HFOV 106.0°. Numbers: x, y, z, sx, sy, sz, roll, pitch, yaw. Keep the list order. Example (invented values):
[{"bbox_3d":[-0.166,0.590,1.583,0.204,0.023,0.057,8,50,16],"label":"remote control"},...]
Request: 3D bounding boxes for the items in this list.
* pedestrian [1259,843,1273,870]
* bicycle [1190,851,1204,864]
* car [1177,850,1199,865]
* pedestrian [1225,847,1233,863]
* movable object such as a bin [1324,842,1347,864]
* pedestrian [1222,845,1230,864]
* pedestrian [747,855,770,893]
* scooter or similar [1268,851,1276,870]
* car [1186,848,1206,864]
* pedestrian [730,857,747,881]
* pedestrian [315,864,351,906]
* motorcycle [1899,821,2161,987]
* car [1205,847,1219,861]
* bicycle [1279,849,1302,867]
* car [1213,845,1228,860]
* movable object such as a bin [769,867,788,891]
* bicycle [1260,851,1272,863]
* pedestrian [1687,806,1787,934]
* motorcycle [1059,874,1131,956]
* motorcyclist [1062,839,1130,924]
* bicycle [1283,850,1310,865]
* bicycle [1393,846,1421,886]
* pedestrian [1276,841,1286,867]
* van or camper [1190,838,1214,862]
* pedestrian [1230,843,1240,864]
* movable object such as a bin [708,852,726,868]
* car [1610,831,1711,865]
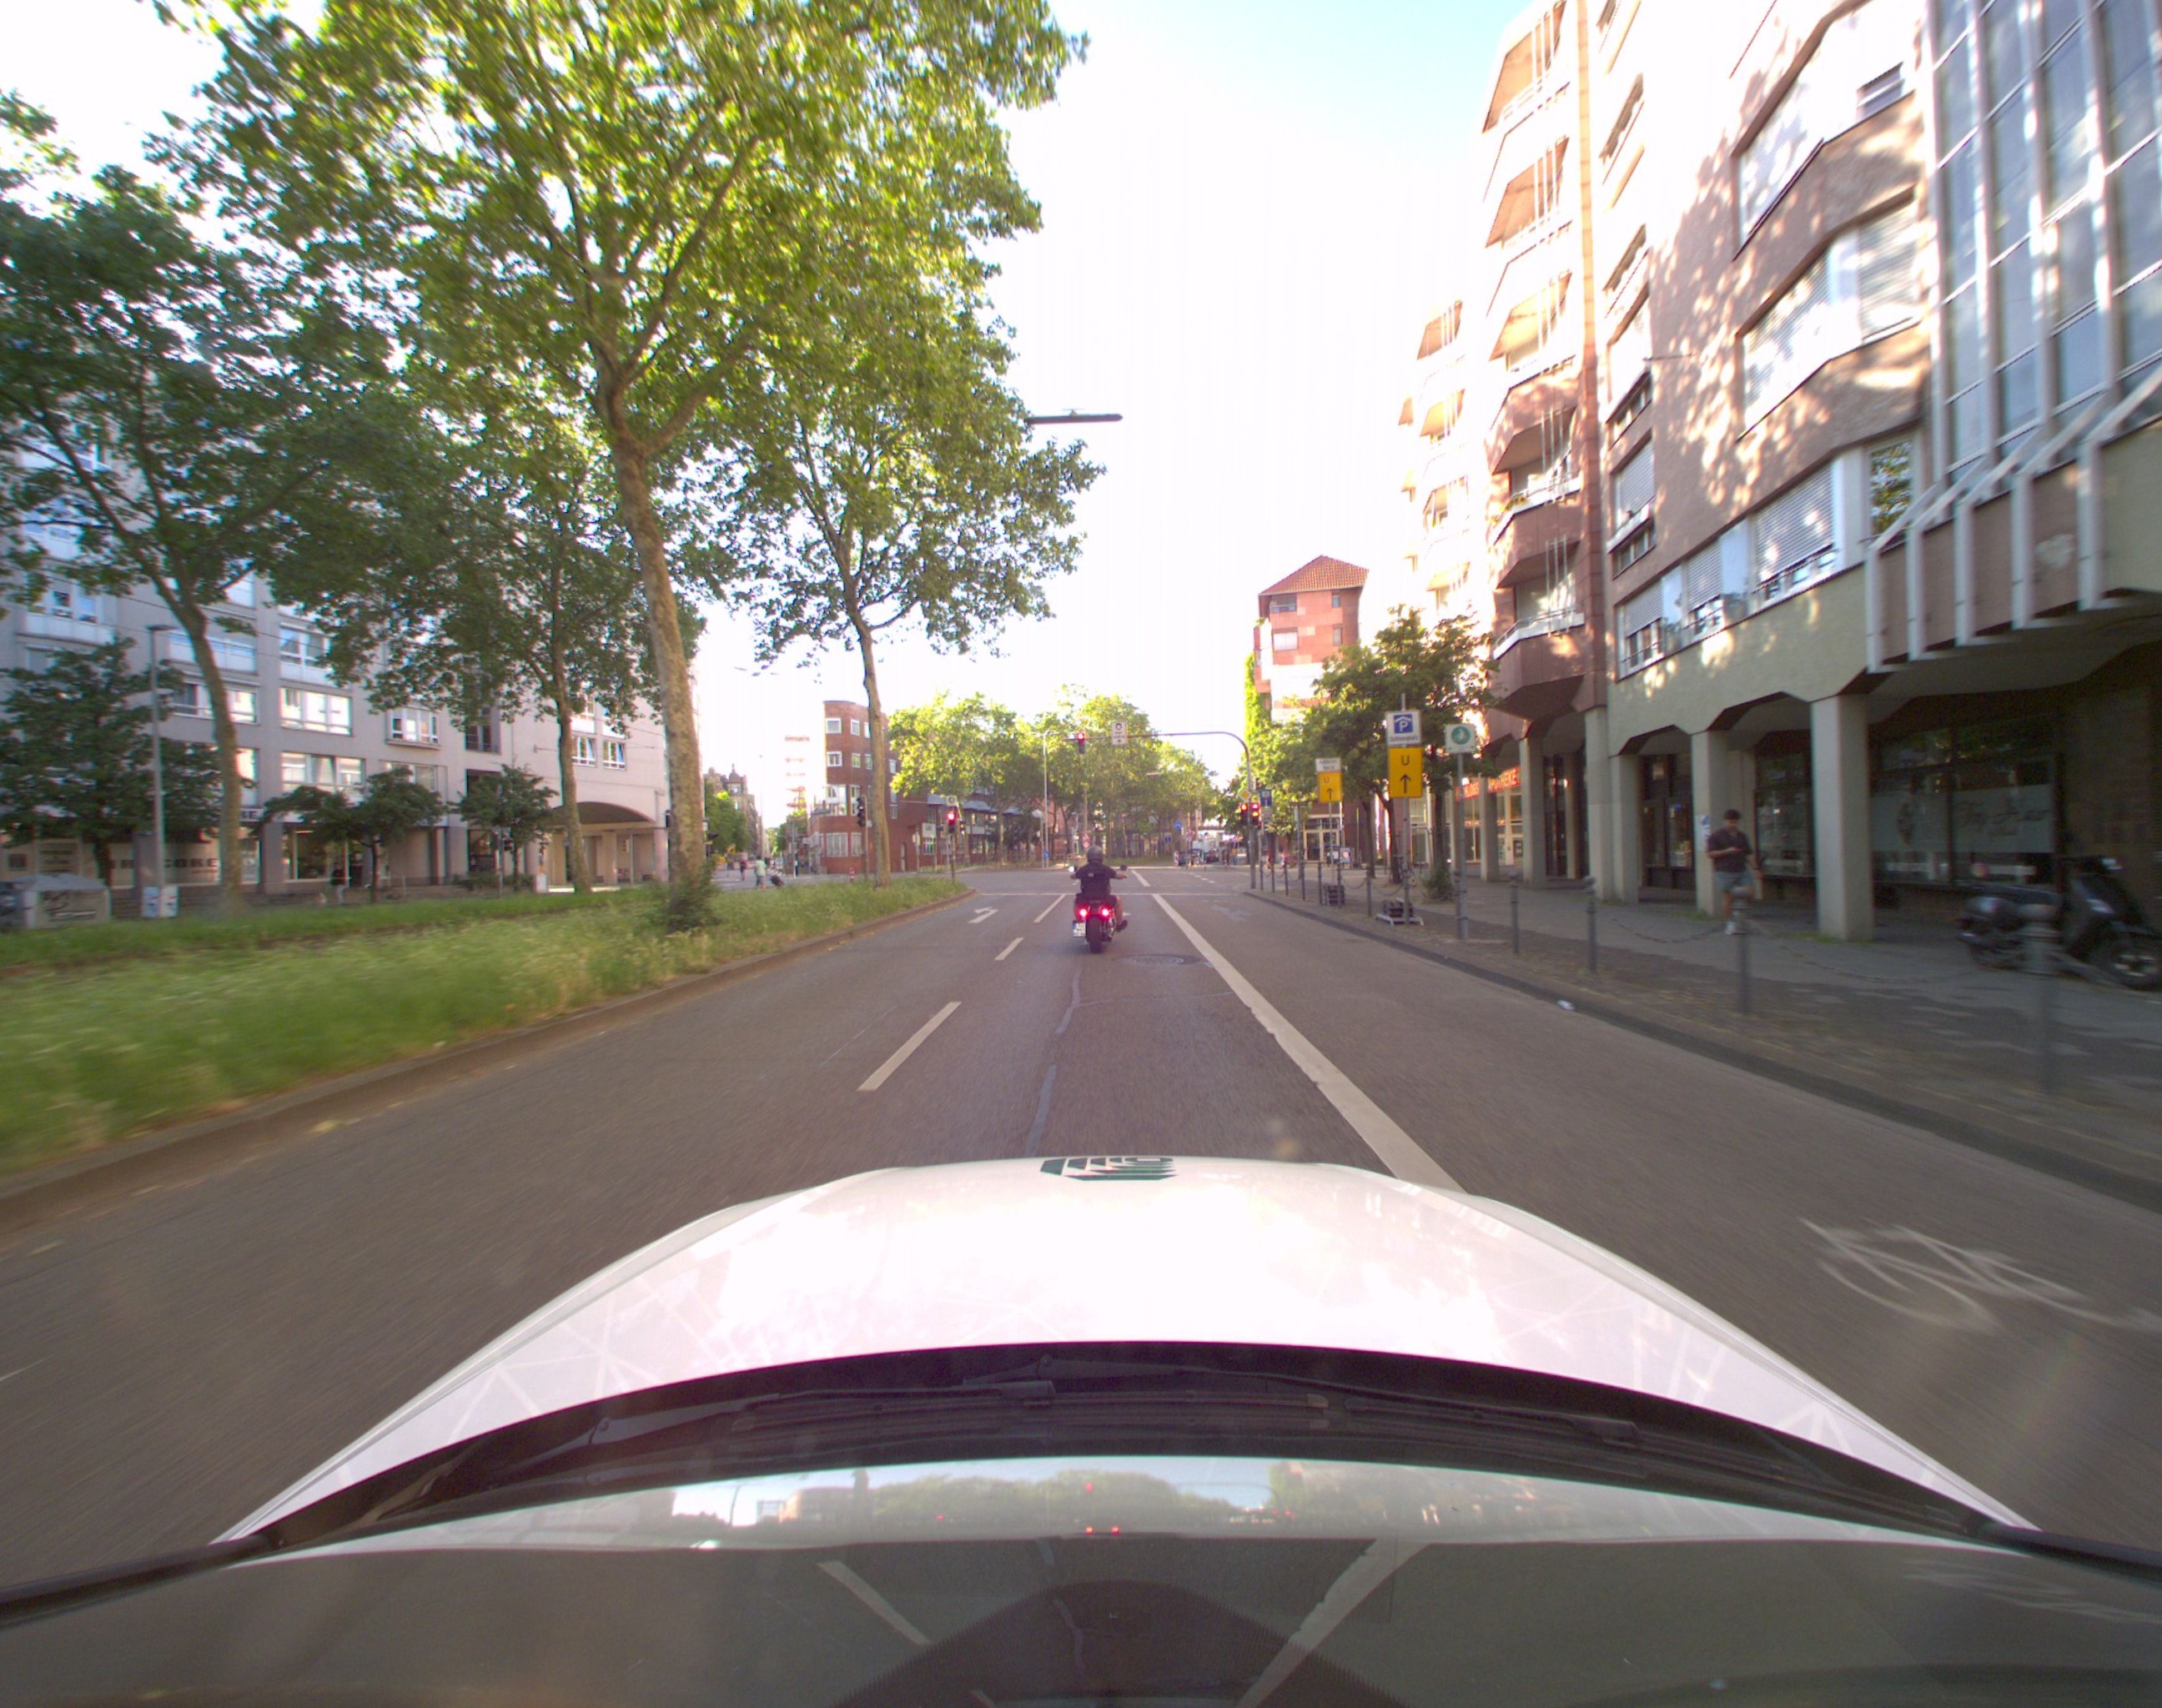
[{"bbox_3d":[12.088,0.147,53.163,0.782,1.763,0.610,-2,0,2],"label":"pedestrian"},{"bbox_3d":[9.543,0.273,66.910,0.736,1.053,1.748,-2,0,-6],"label":"bicycle"},{"bbox_3d":[9.720,0.319,73.930,1.609,1.302,4.325,-2,0,11],"label":"car"},{"bbox_3d":[15.764,0.097,86.805,0.759,1.644,0.548,-2,0,5],"label":"pedestrian"},{"bbox_3d":[17.159,-0.069,54.895,1.400,1.482,0.875,-2,0,14],"label":"movable object such as a bin"},{"bbox_3d":[12.448,0.013,69.982,0.641,1.578,0.749,-2,0,6],"label":"pedestrian"},{"bbox_3d":[-13.071,0.789,32.985,0.614,1.503,0.536,-1,0,14],"label":"pedestrian"},{"bbox_3d":[12.475,0.417,53.266,0.392,1.158,1.252,-2,0,9],"label":"scooter or similar"},{"bbox_3d":[11.848,0.178,83.667,1.609,1.619,4.500,-2,0,12],"label":"car"},{"bbox_3d":[-27.185,1.195,64.653,0.850,1.869,0.754,-2,0,9],"label":"pedestrian"},{"bbox_3d":[-30.449,1.253,33.170,0.702,1.638,0.791,-1,0,14],"label":"pedestrian"},{"bbox_3d":[9.075,0.406,7.783,0.486,1.372,2.092,-1,0,3],"label":"motorcycle"},{"bbox_3d":[16.565,-0.016,102.998,1.610,1.610,3.786,-2,0,11],"label":"car"},{"bbox_3d":[14.828,0.294,57.667,1.558,1.227,0.579,-2,0,8],"label":"bicycle"},{"bbox_3d":[19.624,-0.229,114.078,1.823,2.013,4.403,-2,0,12],"label":"car"},{"bbox_3d":[-12.338,1.002,33.219,0.506,0.953,0.542,-2,0,16],"label":"movable object such as a bin"},{"bbox_3d":[14.998,0.239,65.932,0.733,0.939,1.756,-2,0,7],"label":"bicycle"},{"bbox_3d":[9.298,0.215,11.574,0.776,1.738,0.839,-1,0,11],"label":"pedestrian"},{"bbox_3d":[0.258,0.899,12.706,1.014,1.097,2.009,-1,0,3],"label":"motorcycle"},{"bbox_3d":[0.244,0.409,12.689,1.007,1.263,0.774,1,0,2],"label":"motorcyclist"},{"bbox_3d":[16.026,0.264,60.572,1.730,1.053,0.744,-1,0,30],"label":"bicycle"},{"bbox_3d":[10.593,0.361,26.520,0.617,1.225,1.934,-1,0,15],"label":"bicycle"},{"bbox_3d":[13.042,-0.027,53.126,0.457,1.672,0.680,-2,0,3],"label":"pedestrian"},{"bbox_3d":[13.435,-0.414,90.143,2.035,2.540,5.793,-2,0,13],"label":"van or camper"},{"bbox_3d":[13.187,-0.057,69.727,0.696,1.733,0.769,-2,0,6],"label":"pedestrian"},{"bbox_3d":[-54.425,0.943,121.771,1.928,2.310,2.777,-2,0,-12],"label":"movable object such as a bin"},{"bbox_3d":[31.946,-0.301,45.032,4.158,1.722,1.807,-2,0,11],"label":"car"}]
